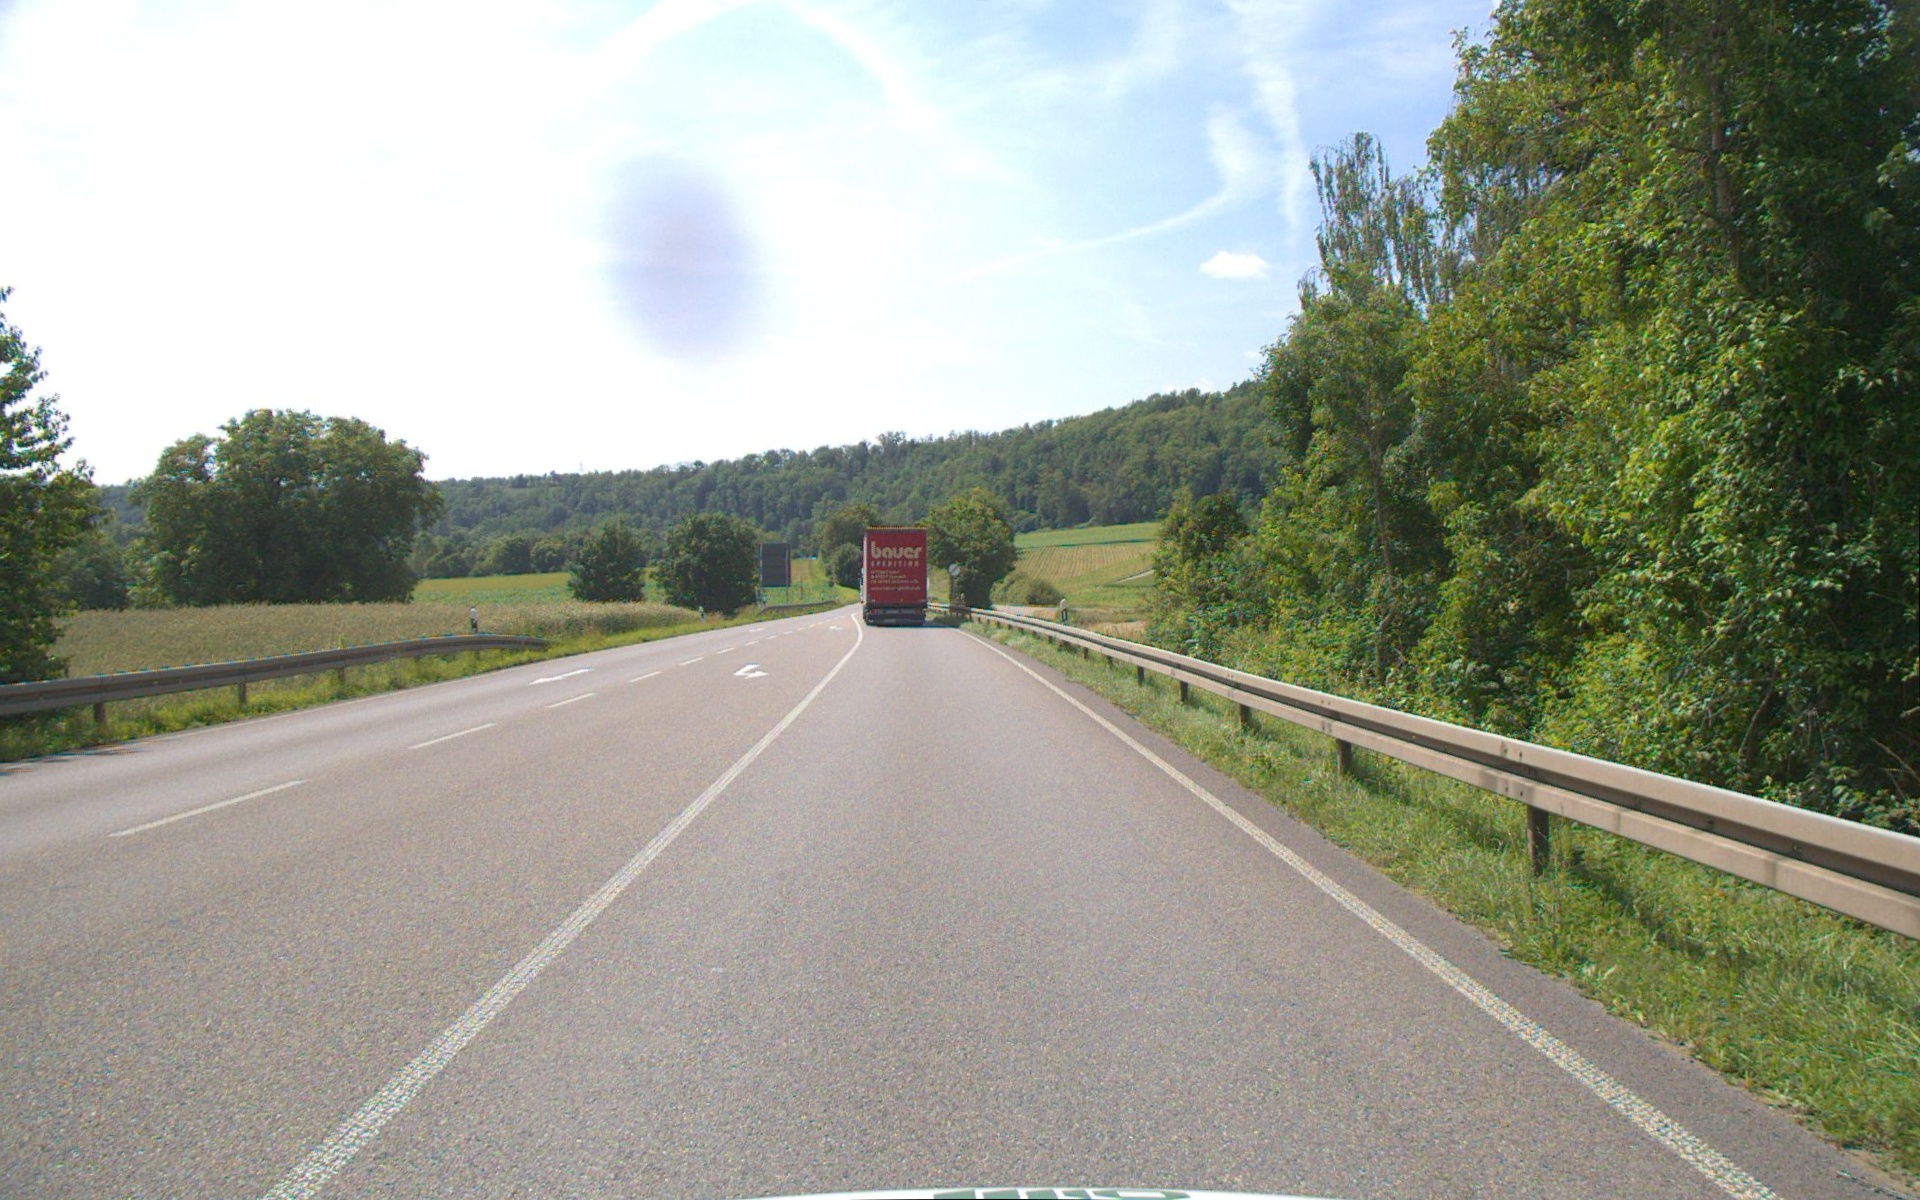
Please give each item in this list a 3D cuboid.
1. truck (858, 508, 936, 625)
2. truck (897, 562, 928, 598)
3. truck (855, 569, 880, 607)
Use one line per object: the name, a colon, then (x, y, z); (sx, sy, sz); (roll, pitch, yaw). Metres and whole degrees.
truck: (-2.893, -1.413, 73.530); (3.109, 4.706, 13.536); (0, 1, -3)
truck: (-6.245, -2.514, 217.377); (3.826, 4.446, 13.287); (2, 0, -2)
truck: (-10.716, -1.375, 191.999); (2.479, 4.191, 6.020); (-2, 0, -1)
